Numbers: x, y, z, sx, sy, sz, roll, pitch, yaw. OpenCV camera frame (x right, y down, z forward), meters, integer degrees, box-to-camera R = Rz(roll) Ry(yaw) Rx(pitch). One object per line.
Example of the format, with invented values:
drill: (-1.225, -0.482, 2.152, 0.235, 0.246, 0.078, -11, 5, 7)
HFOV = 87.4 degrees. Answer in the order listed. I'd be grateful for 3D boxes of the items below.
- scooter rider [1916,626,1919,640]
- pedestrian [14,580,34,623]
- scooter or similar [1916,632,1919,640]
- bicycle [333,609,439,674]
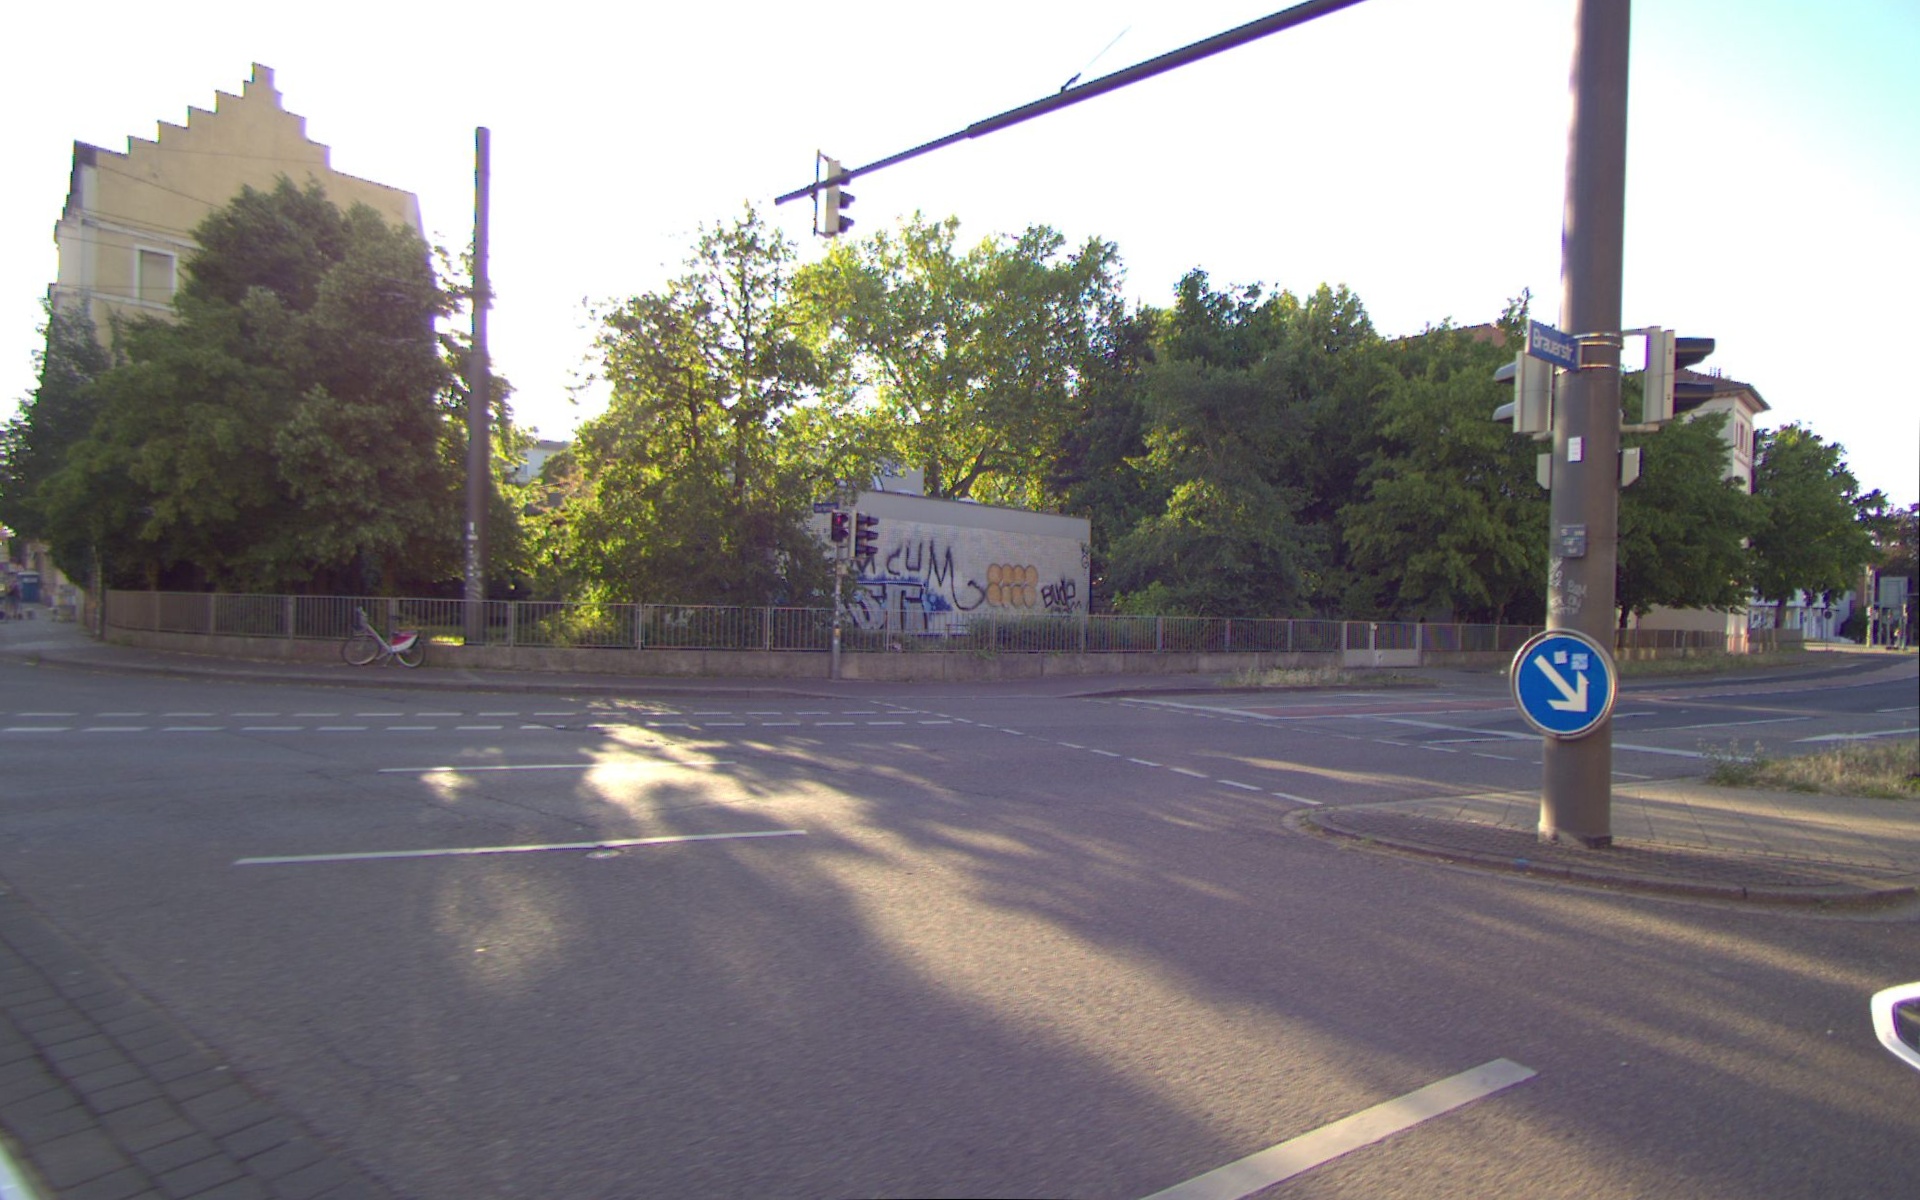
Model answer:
scooter rider: (99.653, 3.450, 104.396, 0.335, 1.391, 0.352, 1, 0, -43)
pedestrian: (-38.593, 0.061, 41.415, 0.582, 1.728, 0.707, 1, 0, -44)
scooter or similar: (99.633, 3.745, 104.388, 0.898, 0.907, 0.354, 1, 0, -43)
bicycle: (-10.712, 0.770, 18.762, 1.687, 1.157, 0.559, 1, 0, 5)
